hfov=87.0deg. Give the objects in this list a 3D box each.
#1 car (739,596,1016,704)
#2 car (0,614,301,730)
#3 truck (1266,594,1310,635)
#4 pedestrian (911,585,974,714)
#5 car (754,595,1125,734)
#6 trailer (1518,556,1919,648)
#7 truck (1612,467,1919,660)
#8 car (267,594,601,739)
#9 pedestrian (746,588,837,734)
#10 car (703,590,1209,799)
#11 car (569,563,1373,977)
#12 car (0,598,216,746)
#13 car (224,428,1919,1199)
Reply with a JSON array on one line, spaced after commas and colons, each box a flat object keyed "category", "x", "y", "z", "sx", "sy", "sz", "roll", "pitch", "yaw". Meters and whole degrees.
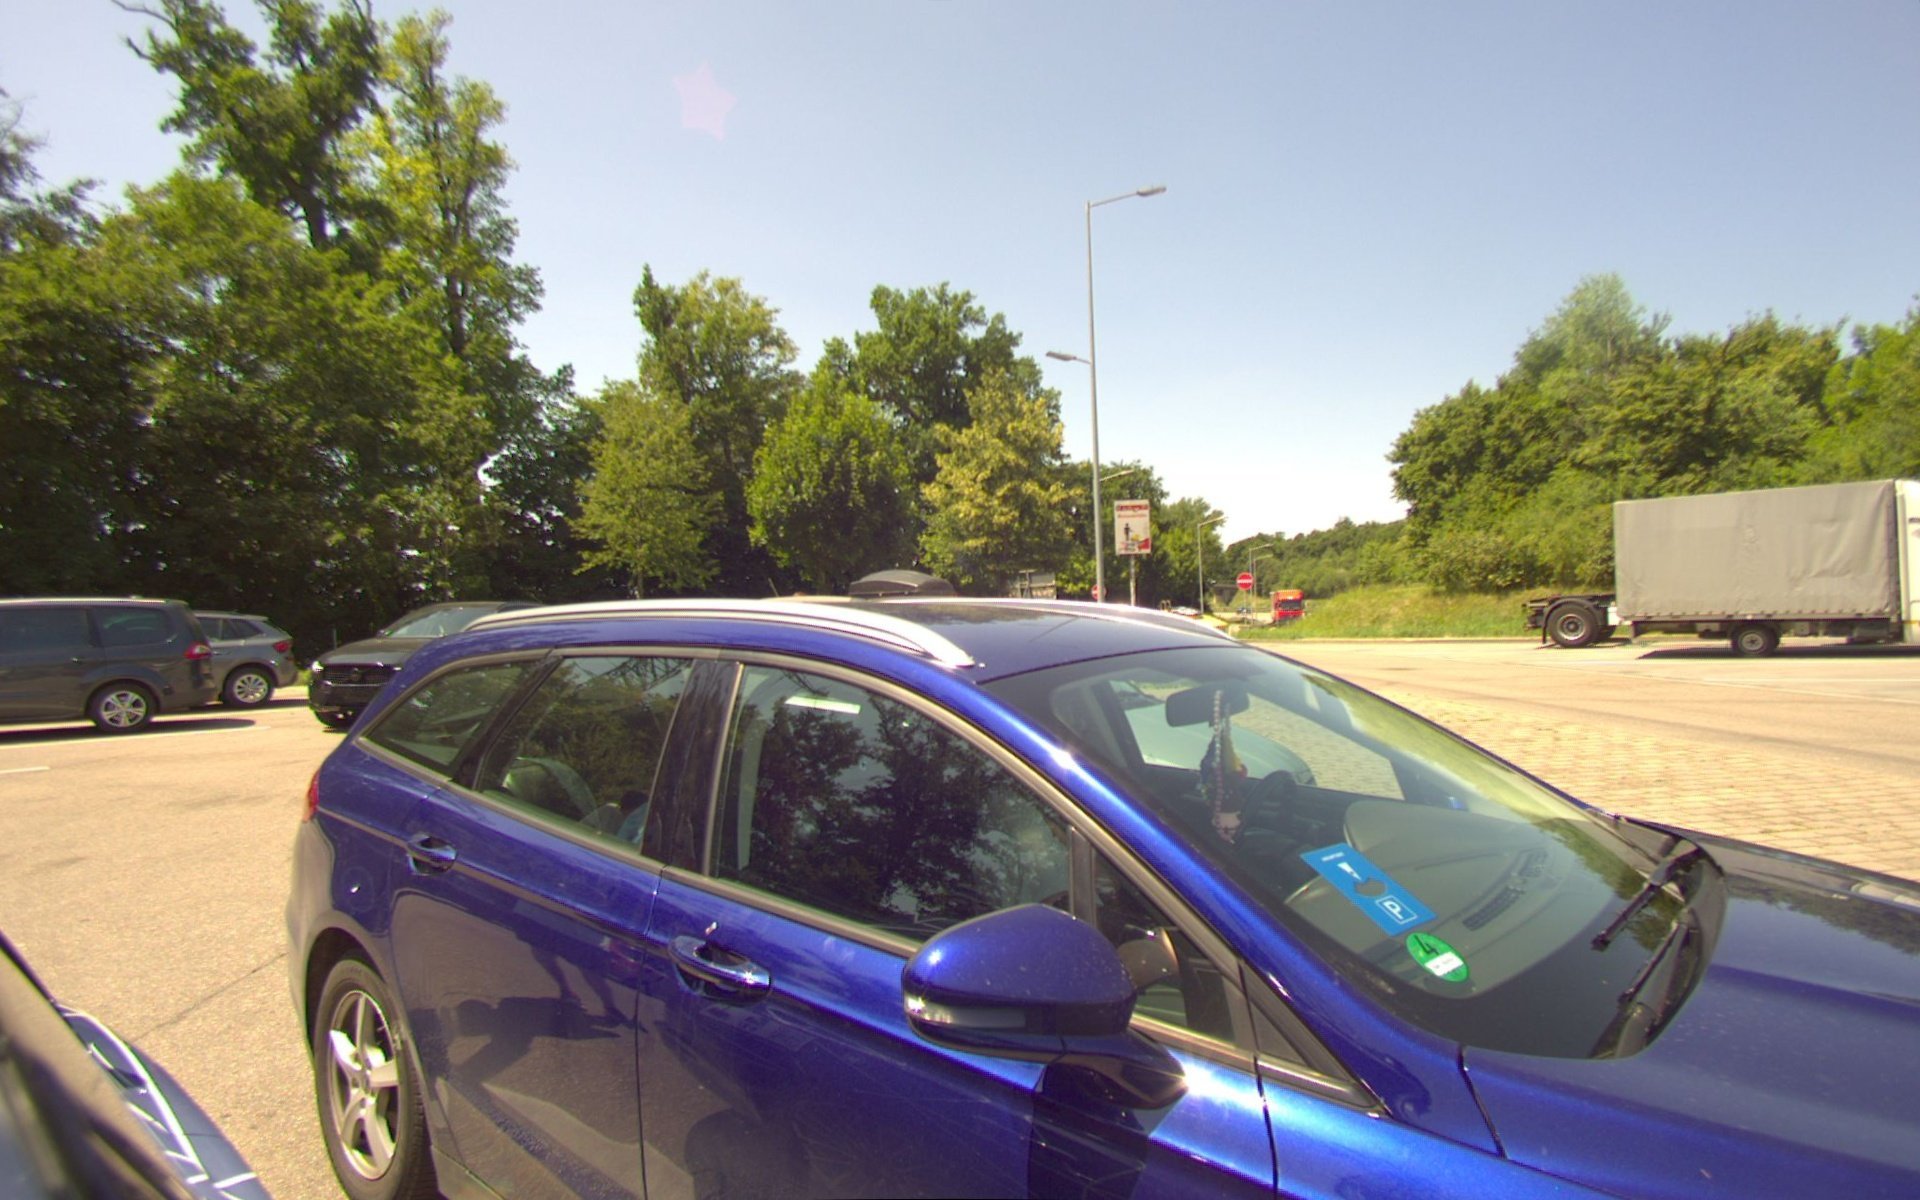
[{"category": "car", "x": -1.459, "y": 0.827, "z": 16.844, "sx": 4.485, "sy": 1.562, "sz": 1.756, "roll": -3, "pitch": -1, "yaw": 36}, {"category": "car", "x": -12.579, "y": 1.005, "z": 15.450, "sx": 1.687, "sy": 1.515, "sz": 3.943, "roll": -1, "pitch": 0, "yaw": 43}, {"category": "truck", "x": 35.695, "y": 1.421, "z": 110.655, "sx": 3.102, "sy": 4.150, "sz": 15.337, "roll": -1, "pitch": 0, "yaw": 13}, {"category": "pedestrian", "x": -0.237, "y": 0.676, "z": 14.099, "sx": 0.822, "sy": 1.746, "sz": 0.676, "roll": -1, "pitch": -1, "yaw": 0}, {"category": "car", "x": -0.367, "y": 0.775, "z": 12.745, "sx": 4.485, "sy": 1.437, "sz": 1.756, "roll": -3, "pitch": -1, "yaw": 36}, {"category": "trailer", "x": 17.270, "y": 0.124, "z": 23.381, "sx": 7.295, "sy": 1.701, "sz": 2.235, "roll": -4, "pitch": -1, "yaw": 43}, {"category": "truck", "x": 16.845, "y": -0.656, "z": 18.953, "sx": 7.295, "sy": 3.259, "sz": 2.709, "roll": -4, "pitch": -1, "yaw": 43}, {"category": "car", "x": -7.160, "y": 0.807, "z": 14.463, "sx": 1.976, "sy": 1.725, "sz": 4.607, "roll": -1, "pitch": 0, "yaw": 7}, {"category": "pedestrian", "x": -2.003, "y": 0.708, "z": 12.046, "sx": 0.827, "sy": 1.676, "sz": 0.671, "roll": -1, "pitch": -1, "yaw": 20}, {"category": "car", "x": -0.226, "y": 0.749, "z": 9.197, "sx": 4.490, "sy": 1.437, "sz": 1.754, "roll": -3, "pitch": -1, "yaw": 40}, {"category": "car", "x": -0.239, "y": 0.694, "z": 5.823, "sx": 4.490, "sy": 1.511, "sz": 1.754, "roll": -3, "pitch": -1, "yaw": 40}, {"category": "car", "x": -11.924, "y": 0.860, "z": 12.286, "sx": 4.553, "sy": 1.725, "sz": 1.741, "roll": 0, "pitch": -1, "yaw": -41}, {"category": "car", "x": 0.273, "y": 0.661, "z": 2.125, "sx": 4.490, "sy": 1.502, "sz": 1.851, "roll": -3, "pitch": 0, "yaw": 40}]
